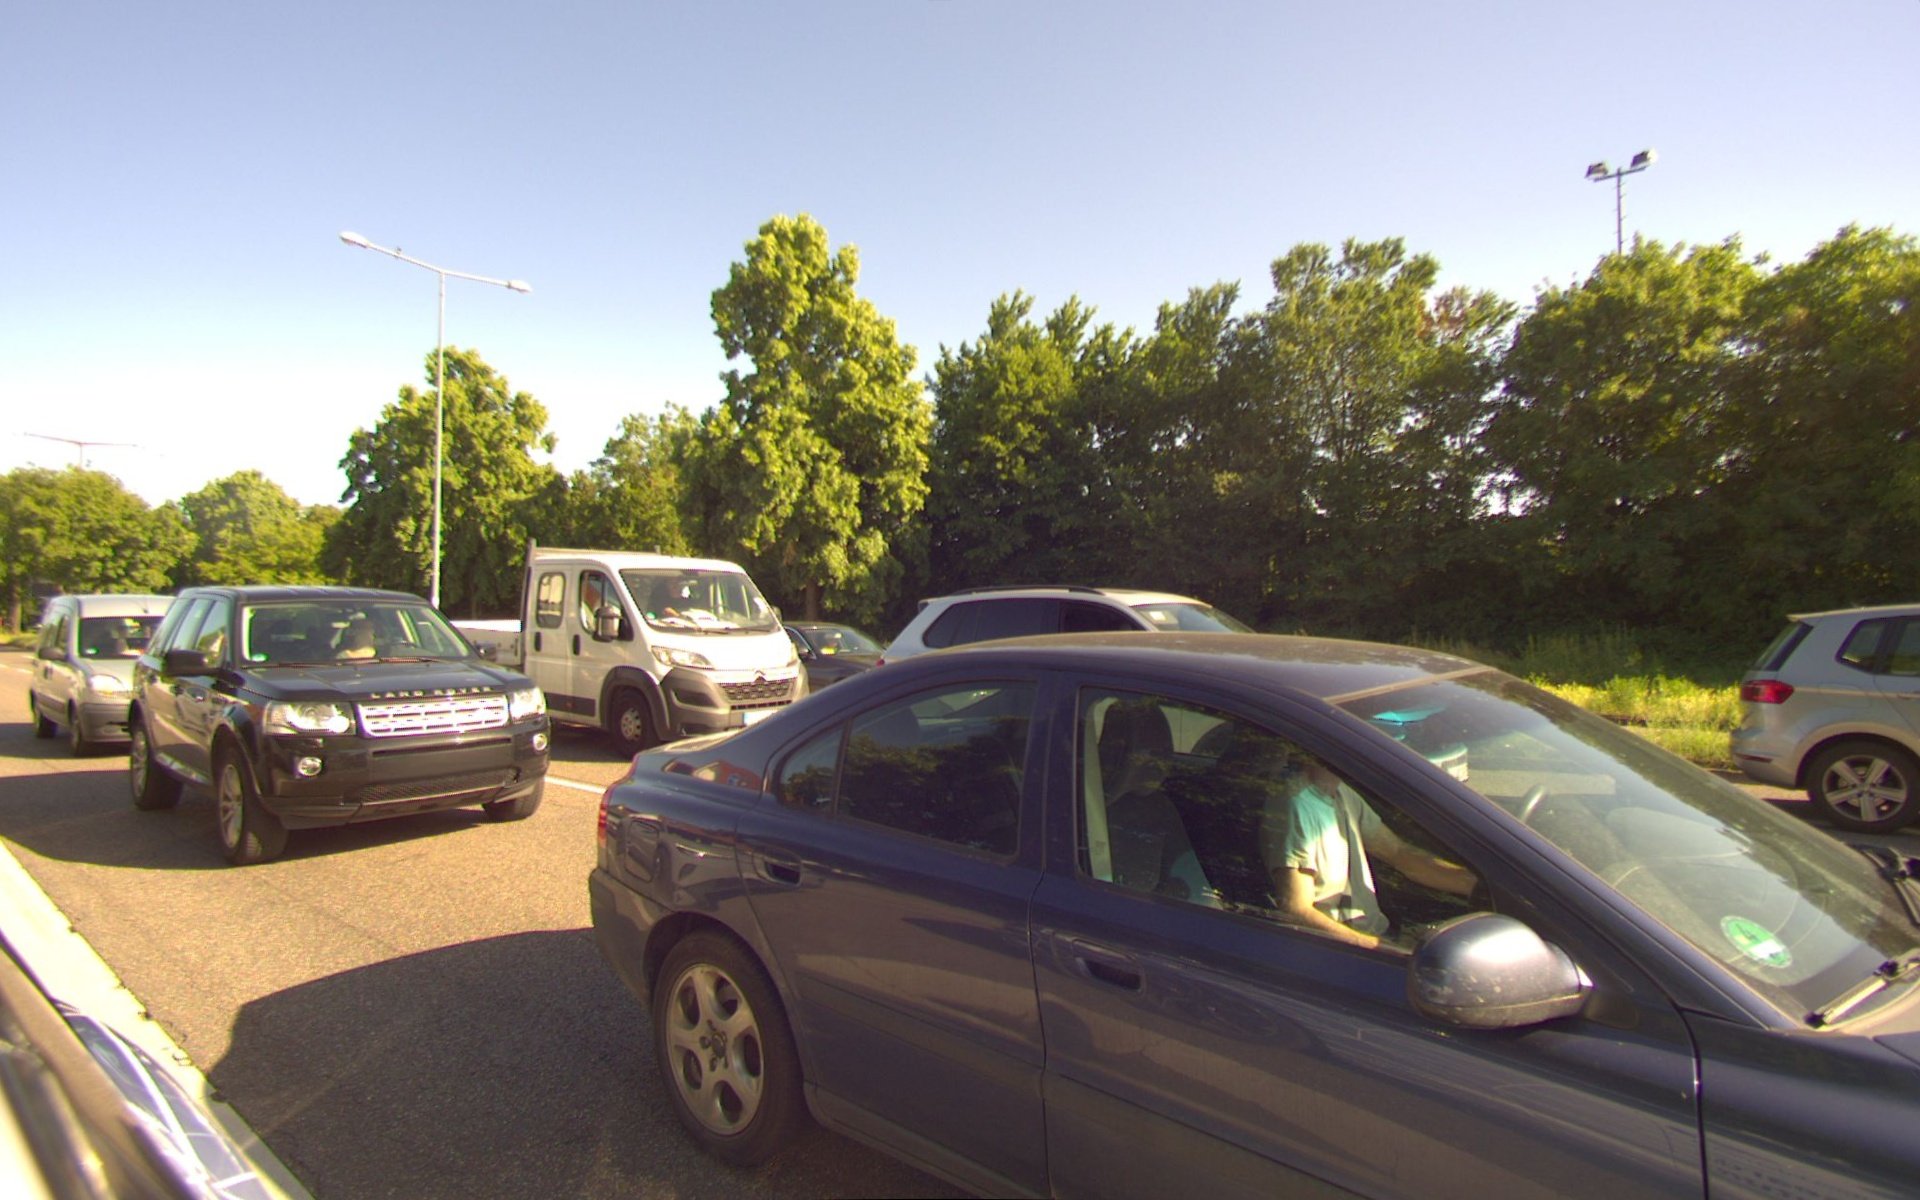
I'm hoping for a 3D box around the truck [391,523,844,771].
[{"bbox_3d":[-4.578,0.474,12.592,6.838,2.337,2.158,-1,-1,40],"label":"truck"}]

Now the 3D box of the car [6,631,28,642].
[{"bbox_3d":[-125.628,4.902,134.790,3.998,1.428,1.769,-2,-3,41],"label":"car"}]

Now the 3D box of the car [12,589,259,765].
[{"bbox_3d":[-10.063,0.798,12.225,4.384,1.765,1.611,-1,-1,41],"label":"car"}]

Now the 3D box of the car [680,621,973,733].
[{"bbox_3d":[-2.066,1.046,14.942,4.382,1.401,1.793,-1,-3,40],"label":"car"}]

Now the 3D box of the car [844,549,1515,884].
[{"bbox_3d":[1.370,0.675,7.434,4.422,1.723,1.973,-2,-3,41],"label":"car"}]

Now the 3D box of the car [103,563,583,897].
[{"bbox_3d":[-4.705,0.703,7.424,4.384,1.744,1.793,-1,-1,41],"label":"car"}]

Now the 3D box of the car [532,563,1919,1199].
[{"bbox_3d":[0.882,0.692,2.429,4.454,1.463,1.757,-1,0,41],"label":"car"}]

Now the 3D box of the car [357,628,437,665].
[{"bbox_3d":[-25.487,2.087,45.799,4.326,1.574,1.624,-1,-3,39],"label":"car"}]

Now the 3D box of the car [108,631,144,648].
[{"bbox_3d":[-72.674,3.430,88.134,3.998,1.428,1.769,-2,-3,41],"label":"car"}]

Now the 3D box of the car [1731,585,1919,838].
[{"bbox_3d":[7.621,0.720,6.418,4.206,1.623,1.810,-2,-3,42],"label":"car"}]
